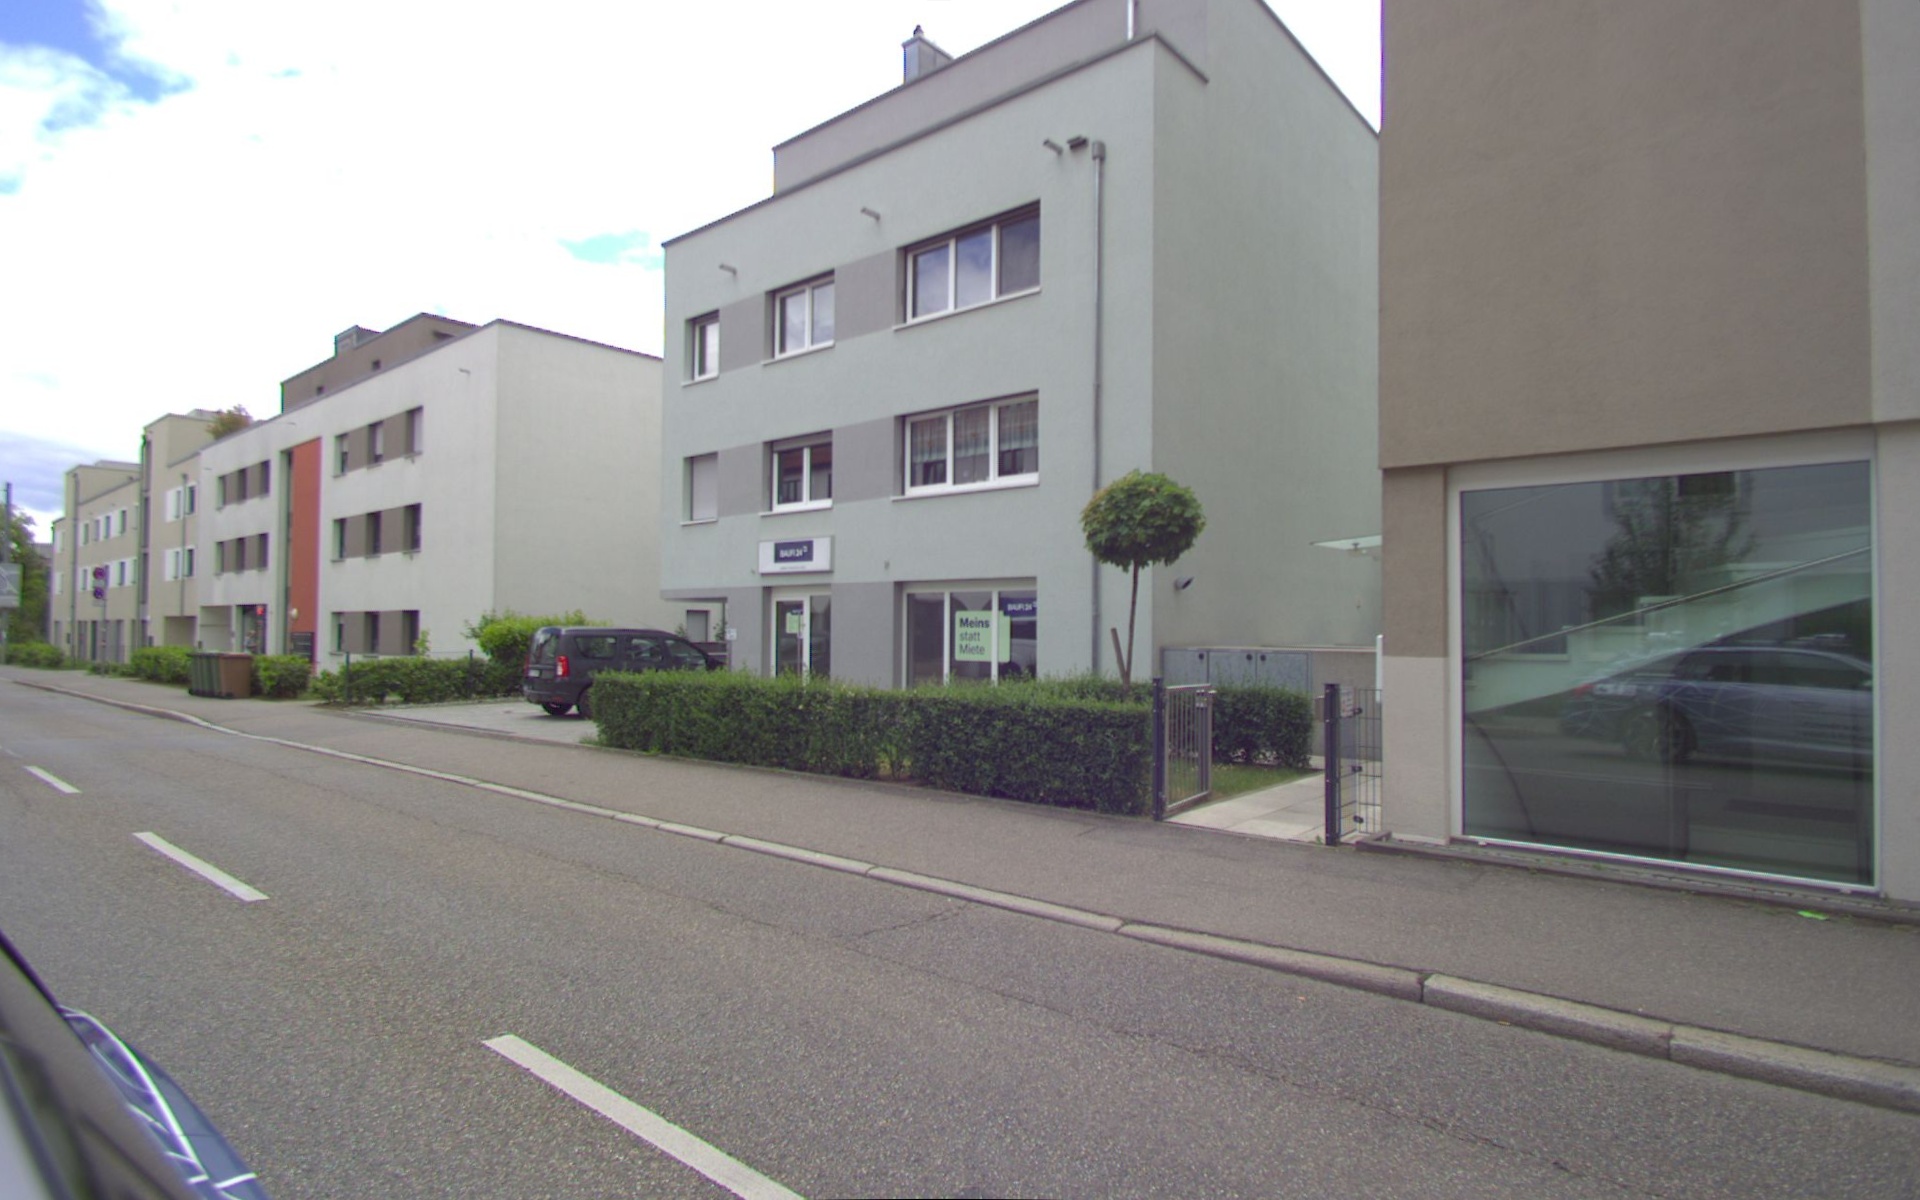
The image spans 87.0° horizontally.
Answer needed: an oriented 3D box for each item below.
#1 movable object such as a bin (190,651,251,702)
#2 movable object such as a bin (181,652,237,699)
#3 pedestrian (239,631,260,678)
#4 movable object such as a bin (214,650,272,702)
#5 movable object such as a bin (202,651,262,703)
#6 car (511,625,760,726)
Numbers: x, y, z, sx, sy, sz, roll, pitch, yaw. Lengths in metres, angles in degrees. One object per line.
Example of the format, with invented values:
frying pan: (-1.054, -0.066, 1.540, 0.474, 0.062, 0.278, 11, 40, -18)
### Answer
movable object such as a bin: (-17.674, 1.811, 24.187, 0.839, 1.160, 0.947, -2, -3, 37)
movable object such as a bin: (-18.366, 1.835, 24.757, 0.791, 1.097, 0.886, -2, -3, 37)
pedestrian: (-25.237, 1.931, 35.947, 0.511, 1.655, 0.642, 1, -2, -27)
movable object such as a bin: (-16.464, 1.727, 23.245, 0.612, 1.160, 0.932, -2, -3, 36)
movable object such as a bin: (-17.026, 1.778, 23.665, 0.748, 1.160, 0.940, -2, -3, 36)
car: (-5.979, 1.329, 18.988, 1.725, 1.680, 4.116, -2, -3, 44)
